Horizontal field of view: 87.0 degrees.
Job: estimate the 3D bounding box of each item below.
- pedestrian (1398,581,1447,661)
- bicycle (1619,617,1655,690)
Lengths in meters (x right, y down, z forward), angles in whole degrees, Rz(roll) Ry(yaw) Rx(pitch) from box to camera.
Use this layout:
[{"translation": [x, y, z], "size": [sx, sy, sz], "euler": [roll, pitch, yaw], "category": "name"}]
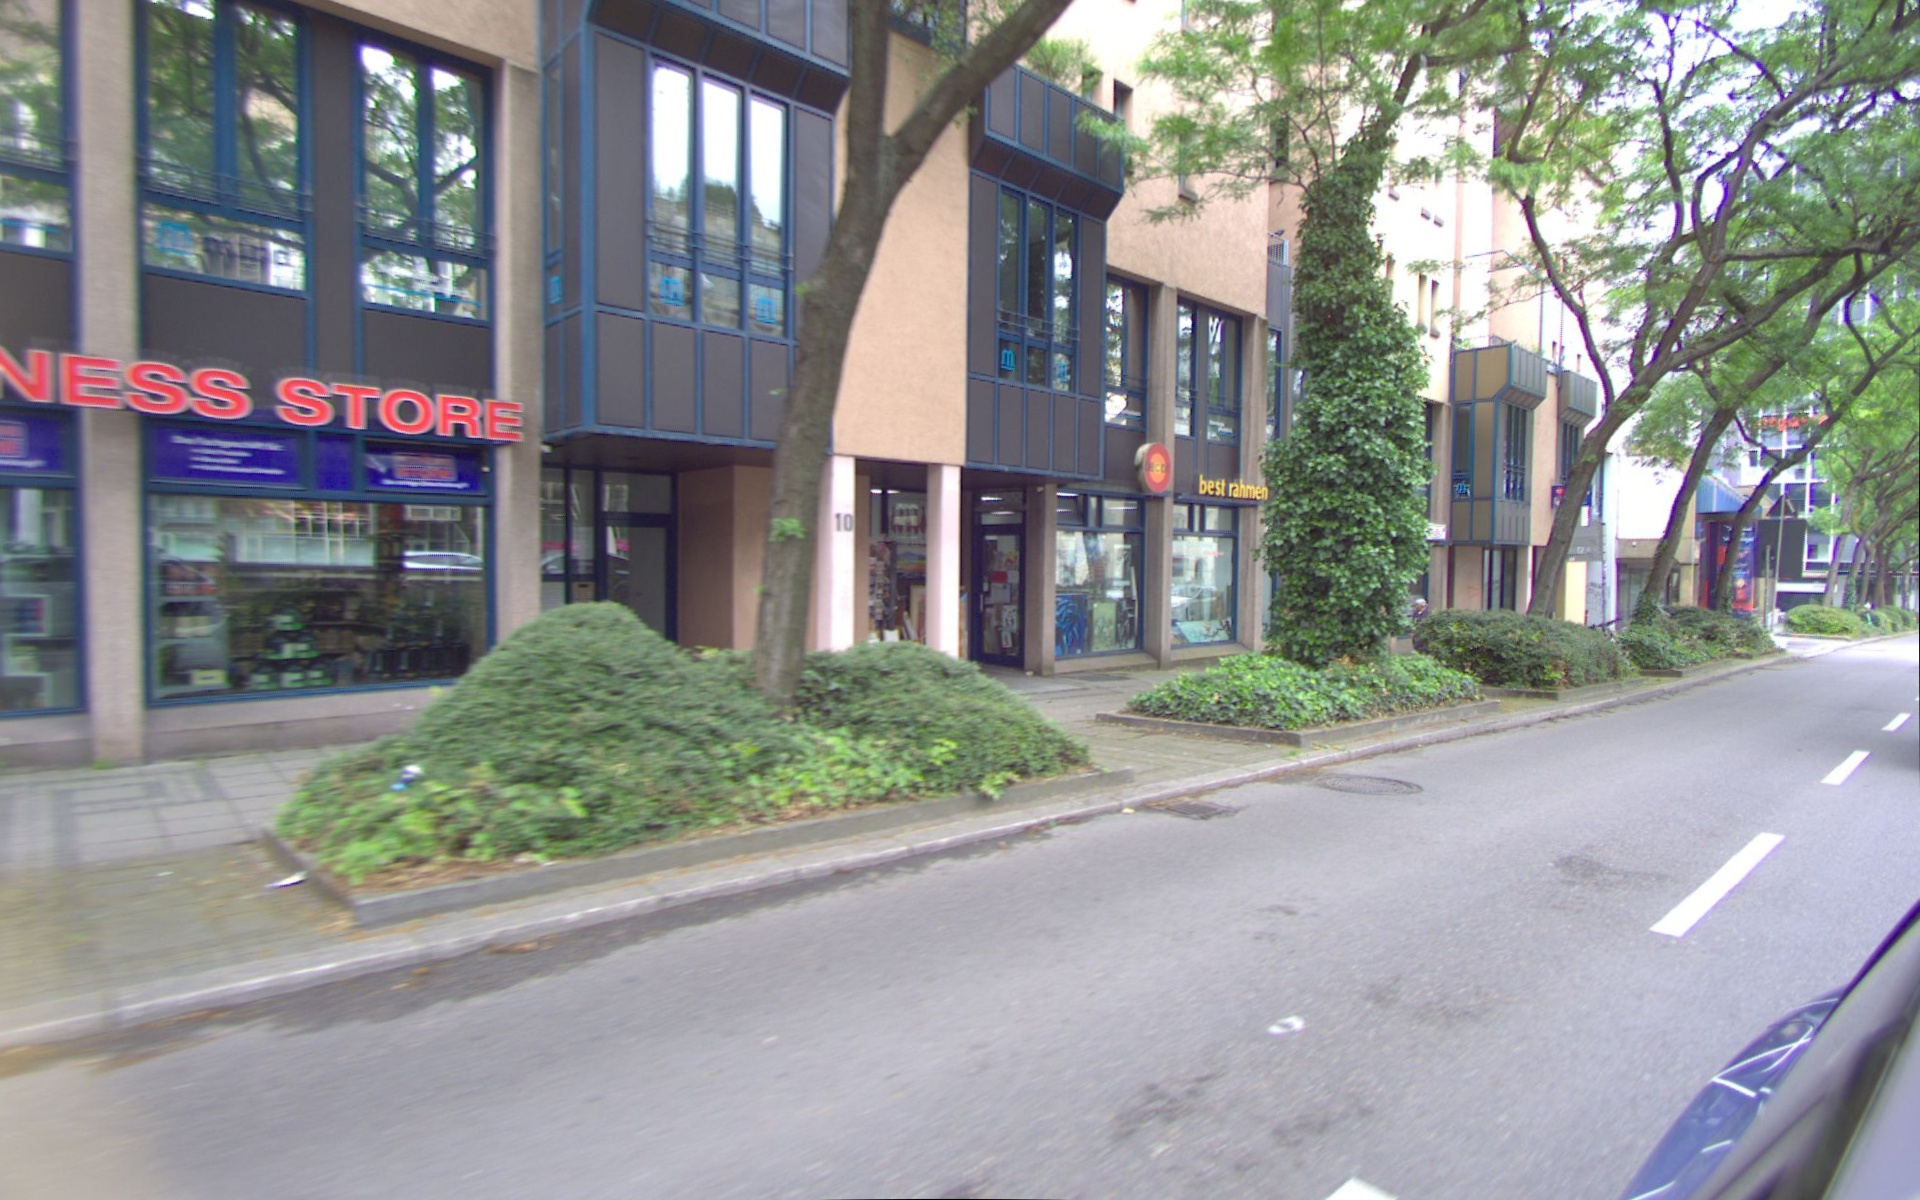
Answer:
[{"translation": [10.269, 0.463, 22.481], "size": [0.674, 1.733, 0.712], "euler": [2, 0, -36], "category": "pedestrian"}, {"translation": [12.143, 0.936, 18.139], "size": [0.361, 1.216, 1.548], "euler": [2, 1, 39], "category": "bicycle"}]
